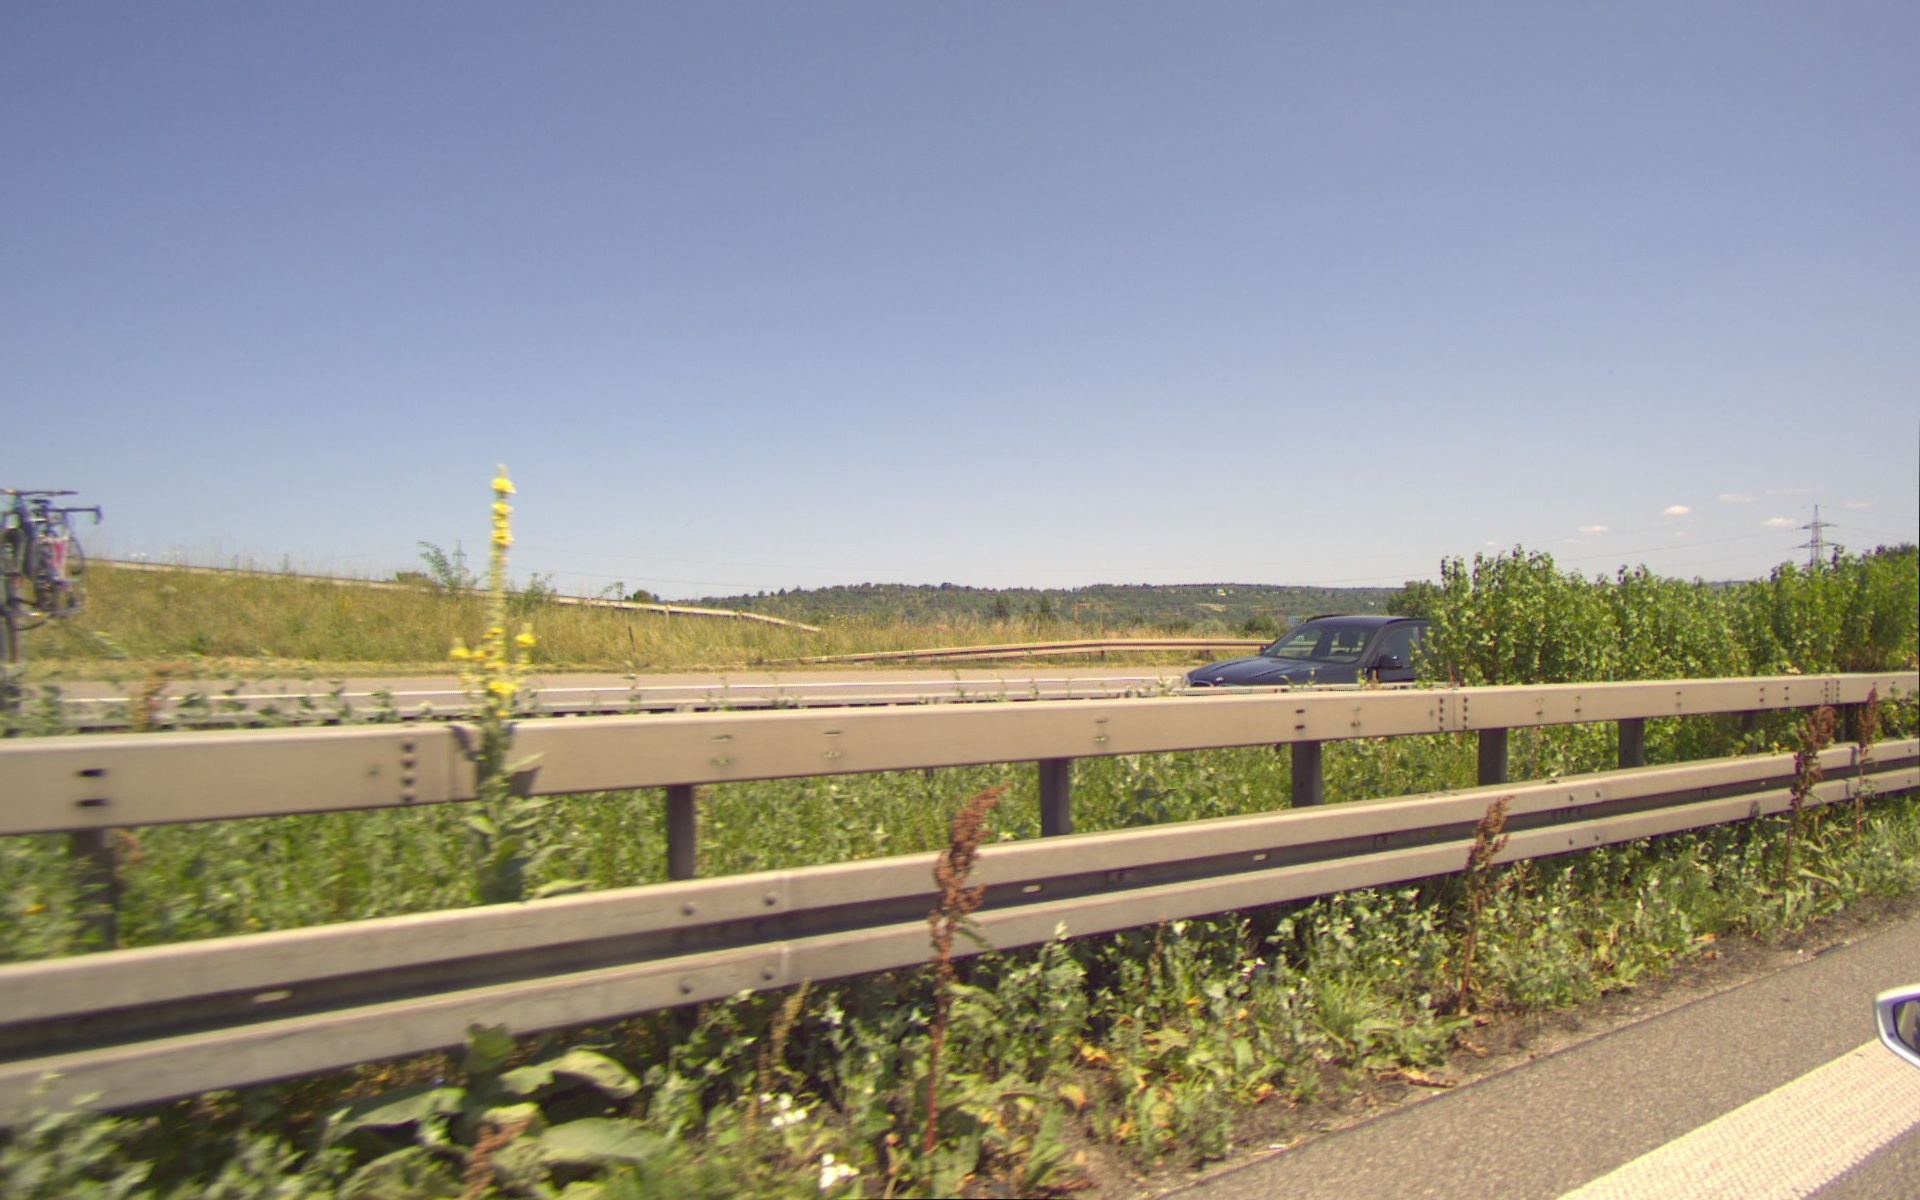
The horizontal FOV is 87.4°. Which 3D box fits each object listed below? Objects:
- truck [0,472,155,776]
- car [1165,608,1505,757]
[{"bbox_3d":[-10.243,0.152,8.140,5.498,2.520,2.010,1,0,-31],"label":"truck"},{"bbox_3d":[4.585,0.907,12.177,3.953,1.528,1.773,1,-1,-30],"label":"car"}]
